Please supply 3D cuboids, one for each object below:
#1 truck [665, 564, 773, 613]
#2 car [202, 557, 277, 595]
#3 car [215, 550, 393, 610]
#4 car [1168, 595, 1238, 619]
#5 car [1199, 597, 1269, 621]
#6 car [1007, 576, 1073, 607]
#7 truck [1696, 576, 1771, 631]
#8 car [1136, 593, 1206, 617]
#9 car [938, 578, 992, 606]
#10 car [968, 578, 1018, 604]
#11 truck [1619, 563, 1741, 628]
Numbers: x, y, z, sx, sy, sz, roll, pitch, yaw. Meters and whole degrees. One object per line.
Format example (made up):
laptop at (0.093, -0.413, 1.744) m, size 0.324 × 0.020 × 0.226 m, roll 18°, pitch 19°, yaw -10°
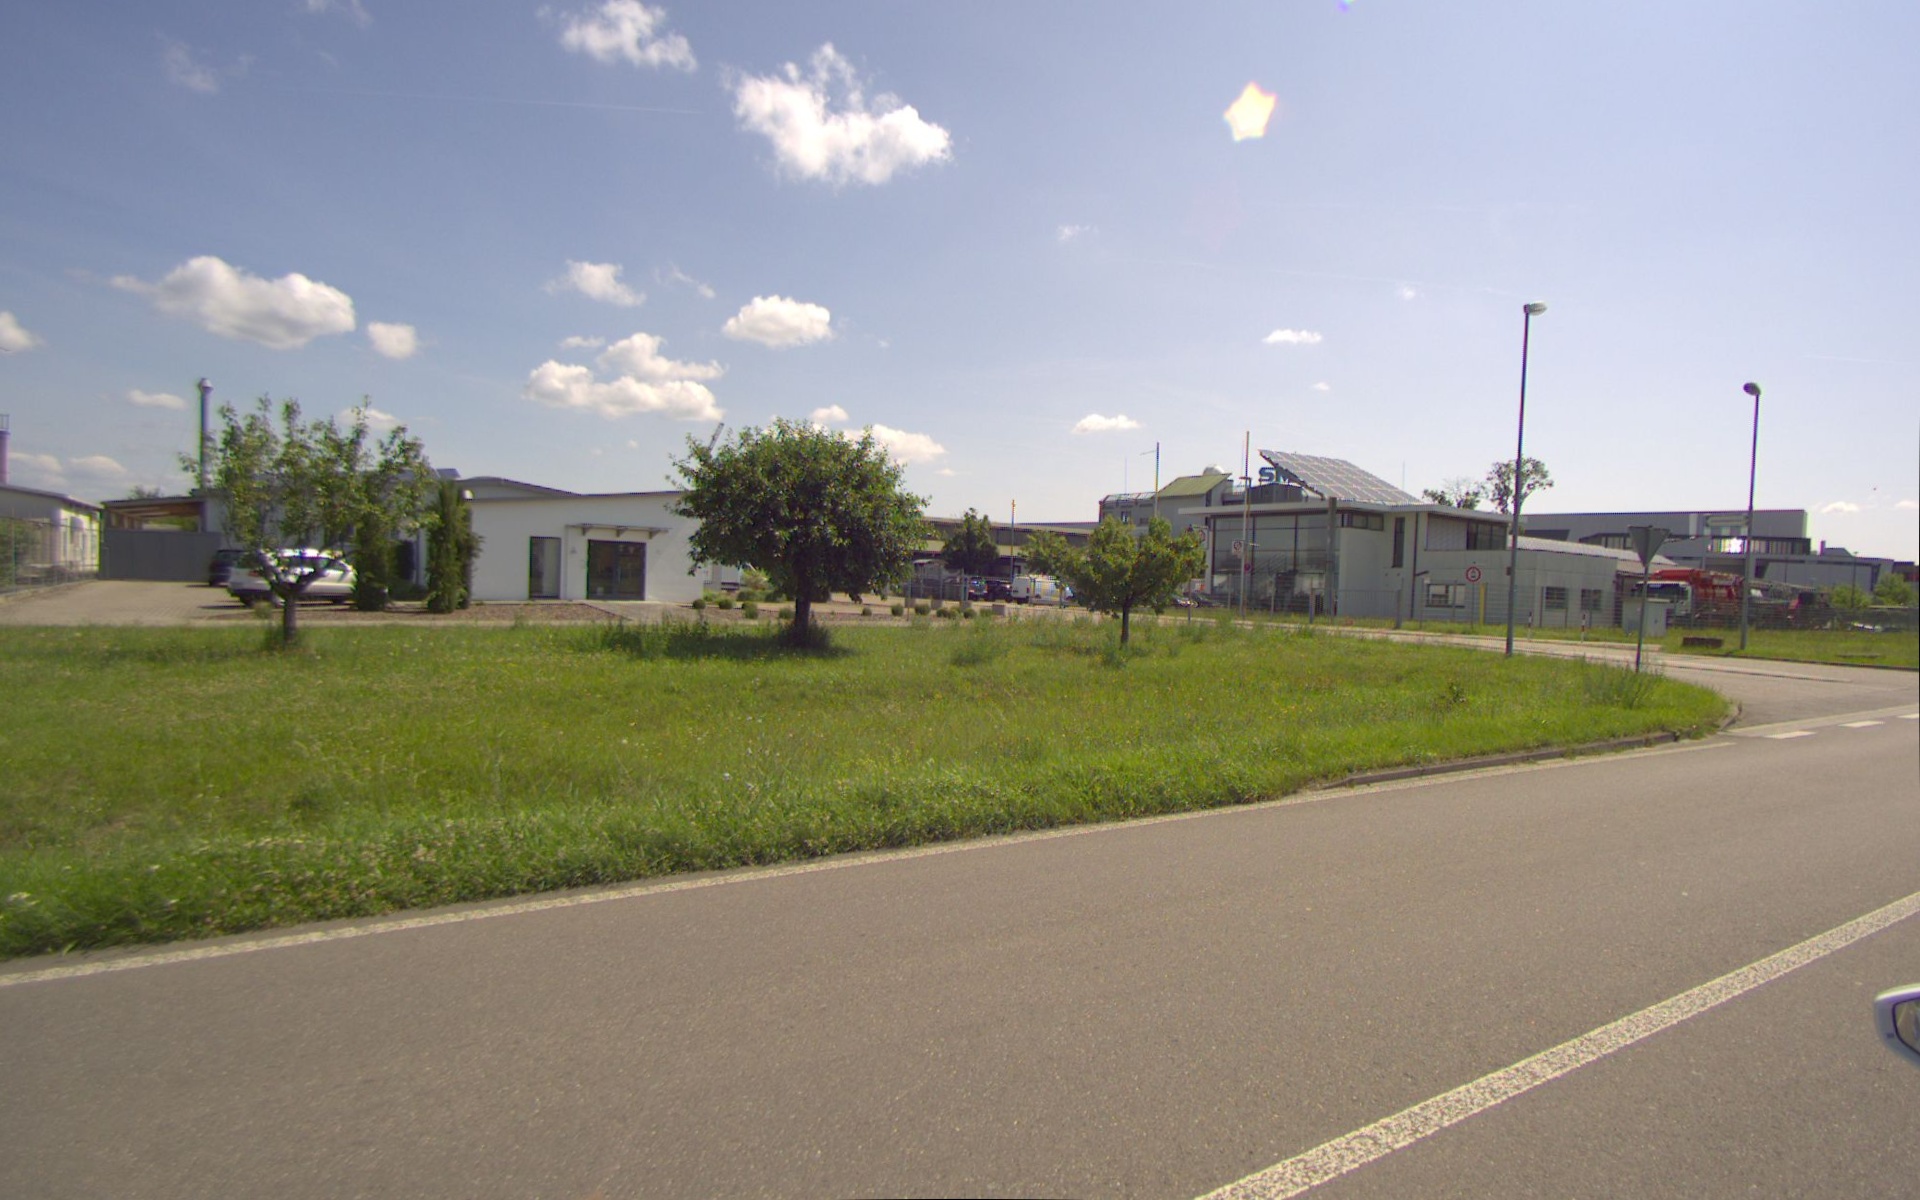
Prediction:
truck at (-16.813, -0.765, 70.286) m, size 7.122 × 3.256 × 1.979 m, roll 1°, pitch 2°, yaw -36°
car at (-30.822, -1.063, 43.086) m, size 1.975 × 1.504 × 4.140 m, roll 1°, pitch 2°, yaw -27°
car at (-20.046, -0.592, 30.878) m, size 1.962 × 1.662 × 4.166 m, roll 3°, pitch 2°, yaw 25°
car at (14.797, 0.428, 61.415) m, size 1.786 × 1.261 × 3.960 m, roll 1°, pitch 2°, yaw -35°
car at (17.195, 0.559, 63.143) m, size 1.786 × 1.261 × 3.960 m, roll 1°, pitch 2°, yaw -35°
car at (5.747, -0.607, 71.880) m, size 4.704 × 2.041 × 1.976 m, roll 1°, pitch 2°, yaw -41°
truck at (51.800, 0.235, 67.226) m, size 5.389 × 3.499 × 2.418 m, roll 1°, pitch 2°, yaw -36°
car at (12.613, 0.297, 60.228) m, size 1.786 × 1.261 × 3.960 m, roll 1°, pitch 2°, yaw -35°
car at (0.333, -0.627, 73.833) m, size 1.981 × 1.874 × 3.958 m, roll 1°, pitch 2°, yaw -36°
car at (2.475, -0.662, 75.867) m, size 1.672 × 1.777 × 3.810 m, roll 1°, pitch 2°, yaw -37°
truck at (43.421, -0.204, 60.446) m, size 10.166 × 3.606 × 2.734 m, roll 1°, pitch 2°, yaw -36°
